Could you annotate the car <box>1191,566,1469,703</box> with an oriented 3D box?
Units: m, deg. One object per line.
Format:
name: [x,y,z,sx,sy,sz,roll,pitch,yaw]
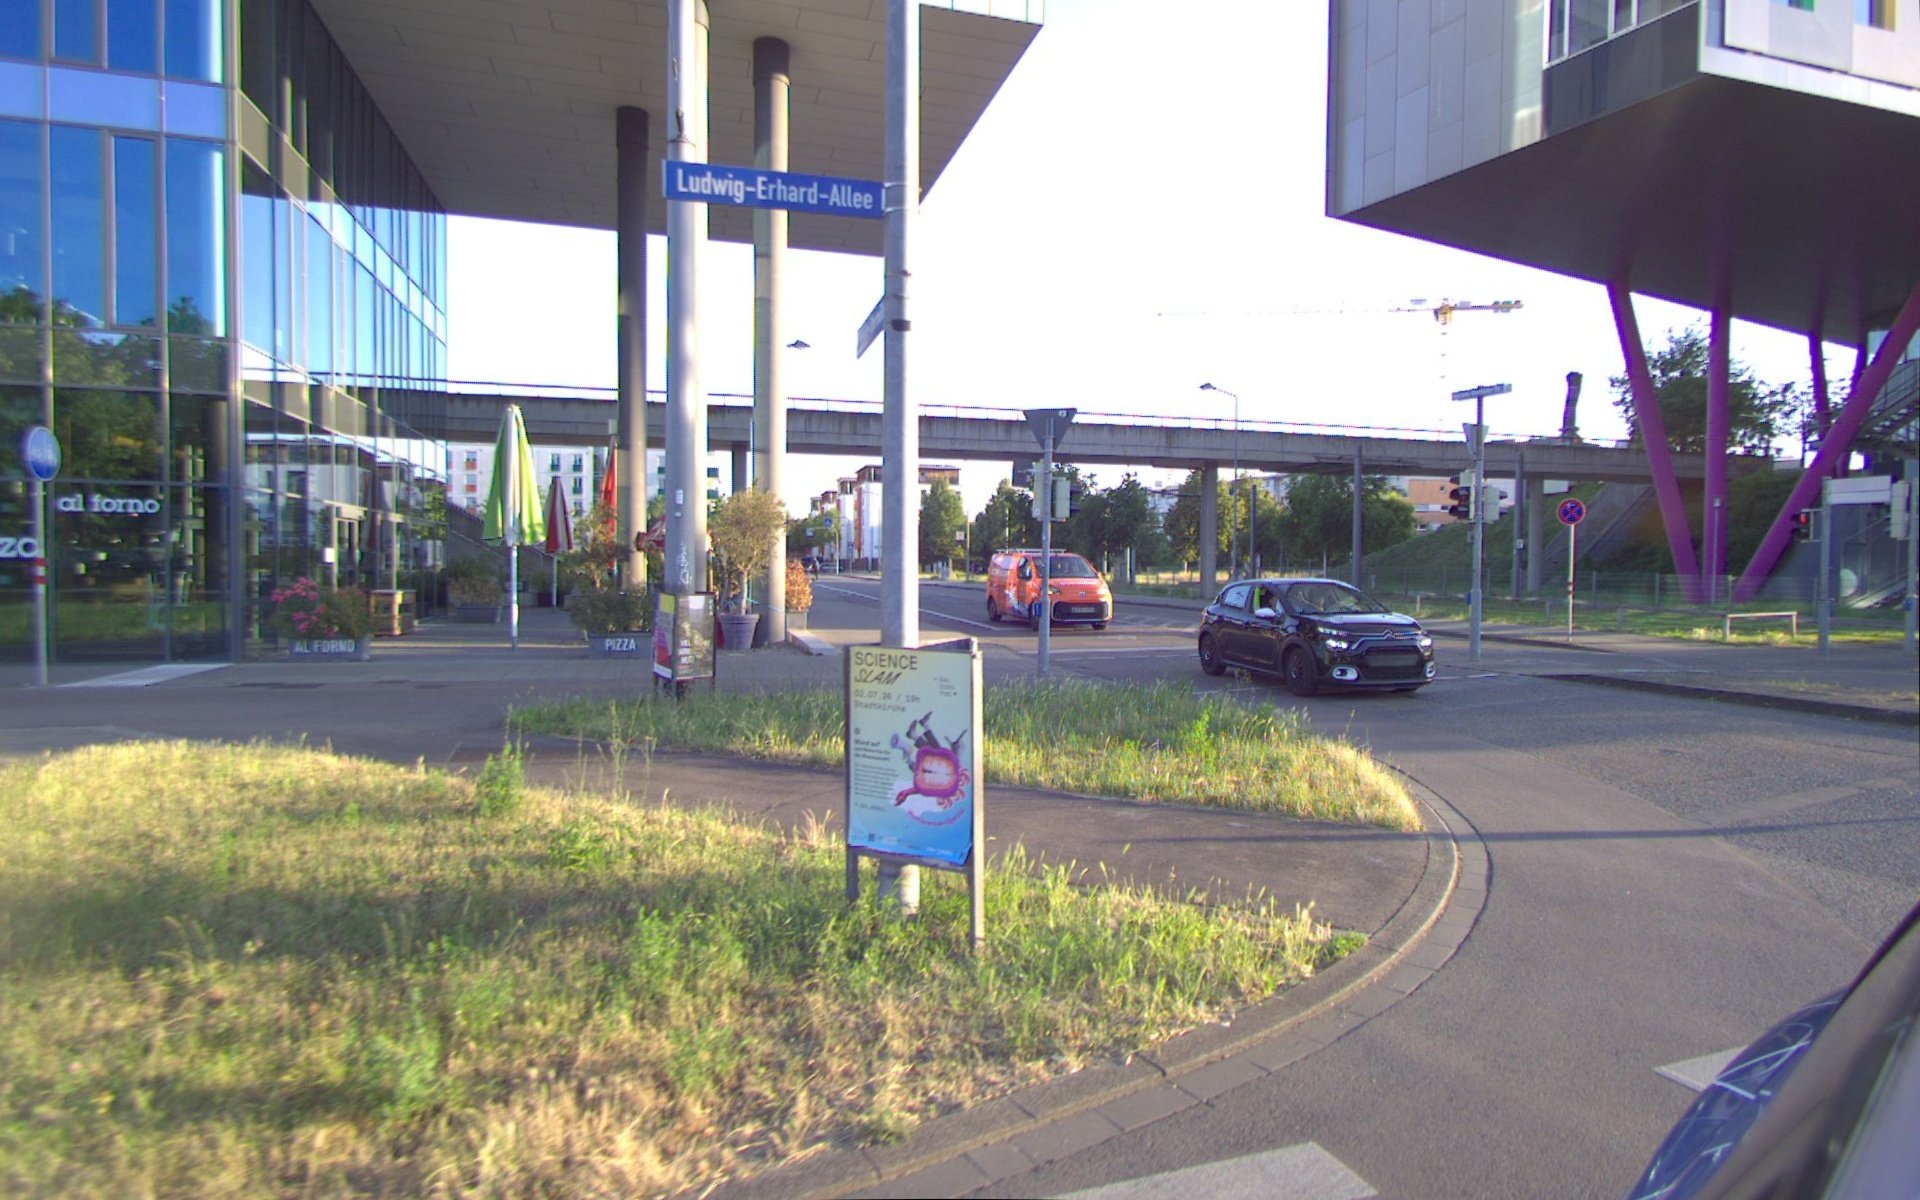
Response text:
car: [4.822,0.325,13.905,1.724,1.571,4.080,0,2,-11]

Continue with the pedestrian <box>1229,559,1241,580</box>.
pedestrian: [21.172,-2.330,77.944,0.765,1.631,0.417,0,2,-3]

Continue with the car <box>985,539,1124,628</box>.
car: [2.256,-0.483,25.672,1.892,2.015,4.834,-1,2,-16]

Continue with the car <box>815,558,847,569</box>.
car: [-18.385,-5.210,144.311,4.299,1.578,1.844,0,3,-13]

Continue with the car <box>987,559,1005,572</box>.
car: [4.643,-4.547,132.695,1.834,1.742,3.851,0,2,-6]

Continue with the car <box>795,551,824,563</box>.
car: [-25.854,-7.428,173.569,4.648,2.038,2.005,-1,3,-17]

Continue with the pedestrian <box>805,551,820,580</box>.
pedestrian: [-10.402,-2.427,71.337,0.940,2.038,0.630,0,2,3]
